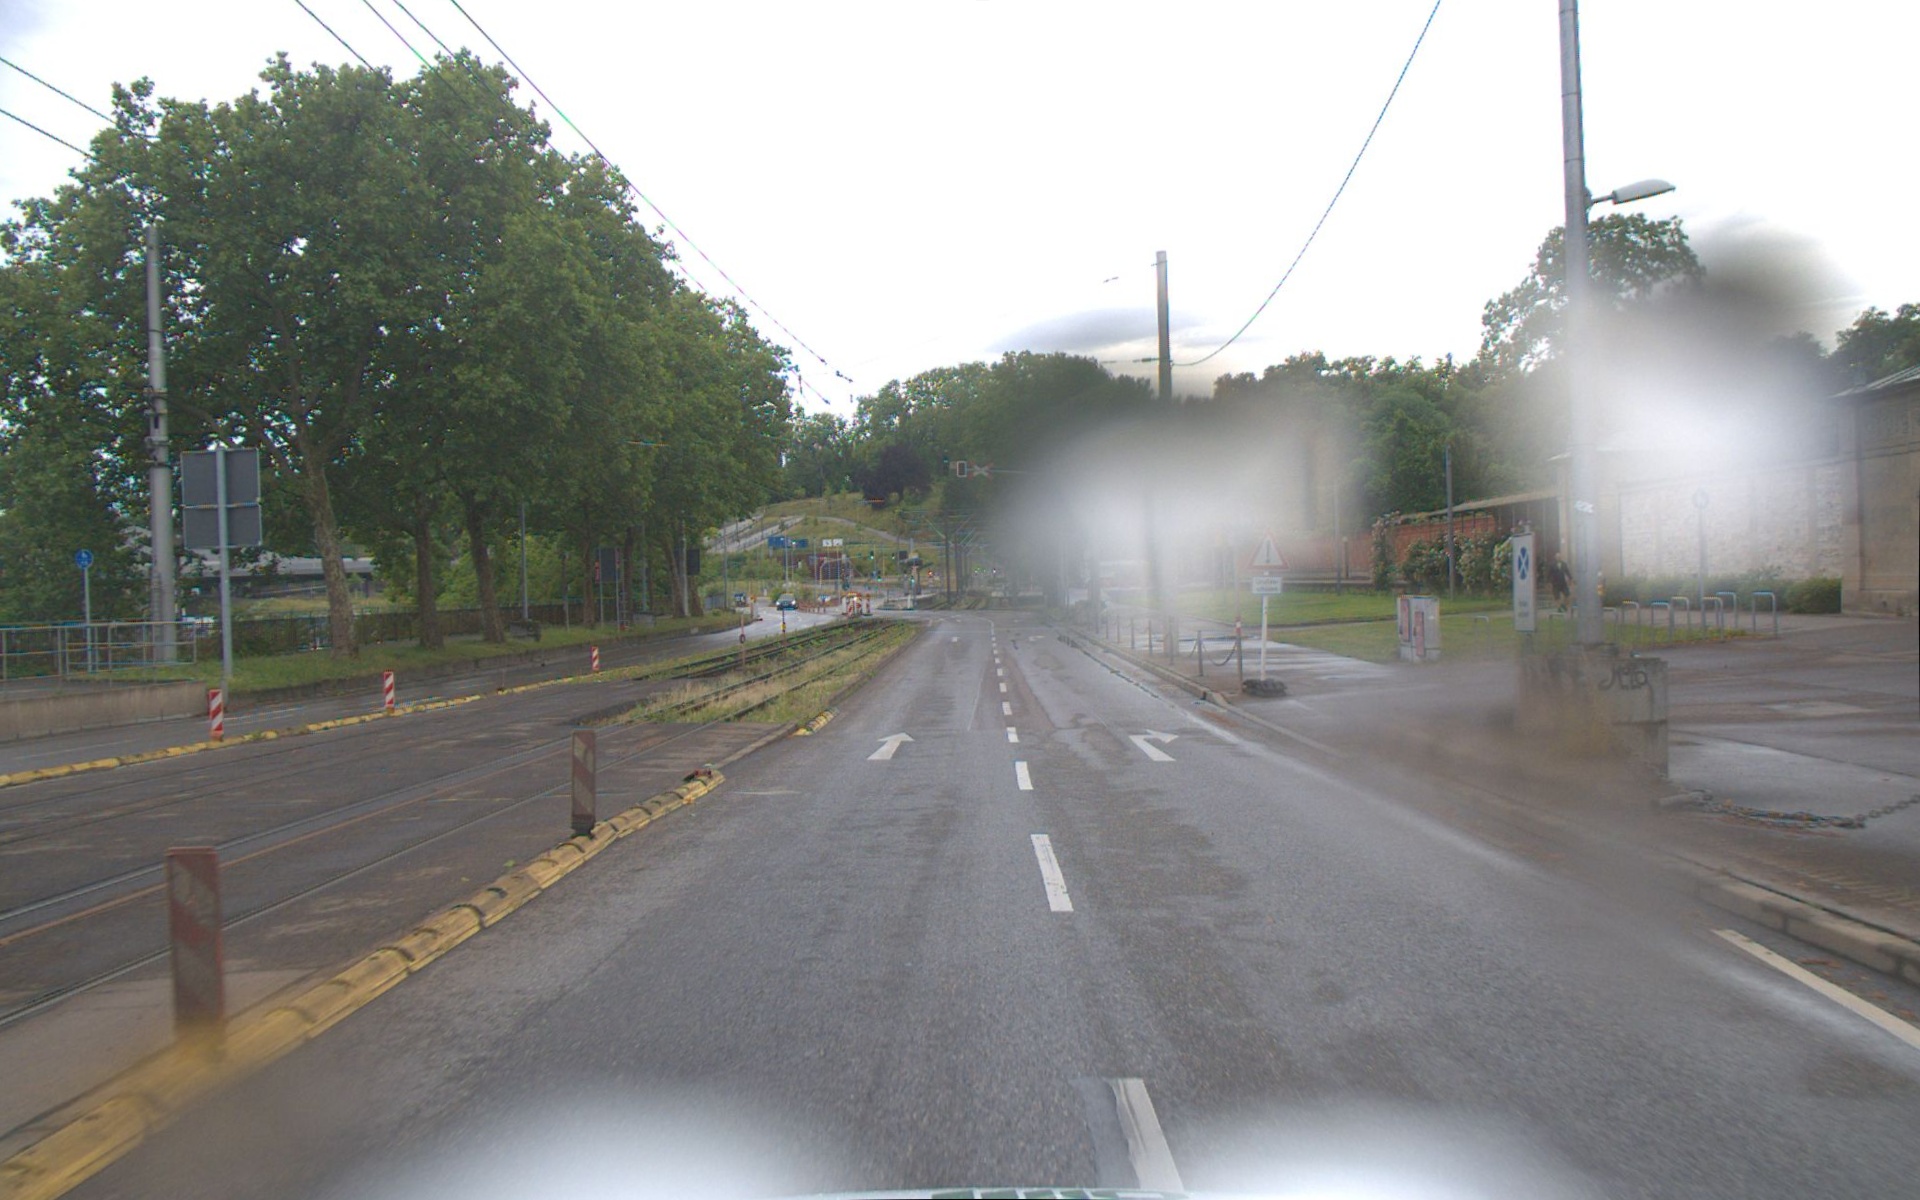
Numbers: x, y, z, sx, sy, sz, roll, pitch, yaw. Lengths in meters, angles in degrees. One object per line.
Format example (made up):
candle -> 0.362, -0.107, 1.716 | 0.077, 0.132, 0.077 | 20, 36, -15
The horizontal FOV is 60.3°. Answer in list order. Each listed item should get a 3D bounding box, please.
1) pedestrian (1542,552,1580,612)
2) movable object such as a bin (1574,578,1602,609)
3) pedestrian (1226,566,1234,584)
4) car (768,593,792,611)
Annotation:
pedestrian -> 17.772, -0.531, 48.936 | 0.713, 1.740, 0.981 | -2, 0, 1
movable object such as a bin -> 18.377, -0.190, 48.407 | 0.335, 0.887, 1.192 | -2, 0, 2
pedestrian -> 24.893, -2.314, 152.470 | 0.540, 1.686, 0.468 | -2, -1, 36
car -> -16.731, 0.175, 153.782 | 1.711, 1.454, 4.560 | -3, 0, 0
